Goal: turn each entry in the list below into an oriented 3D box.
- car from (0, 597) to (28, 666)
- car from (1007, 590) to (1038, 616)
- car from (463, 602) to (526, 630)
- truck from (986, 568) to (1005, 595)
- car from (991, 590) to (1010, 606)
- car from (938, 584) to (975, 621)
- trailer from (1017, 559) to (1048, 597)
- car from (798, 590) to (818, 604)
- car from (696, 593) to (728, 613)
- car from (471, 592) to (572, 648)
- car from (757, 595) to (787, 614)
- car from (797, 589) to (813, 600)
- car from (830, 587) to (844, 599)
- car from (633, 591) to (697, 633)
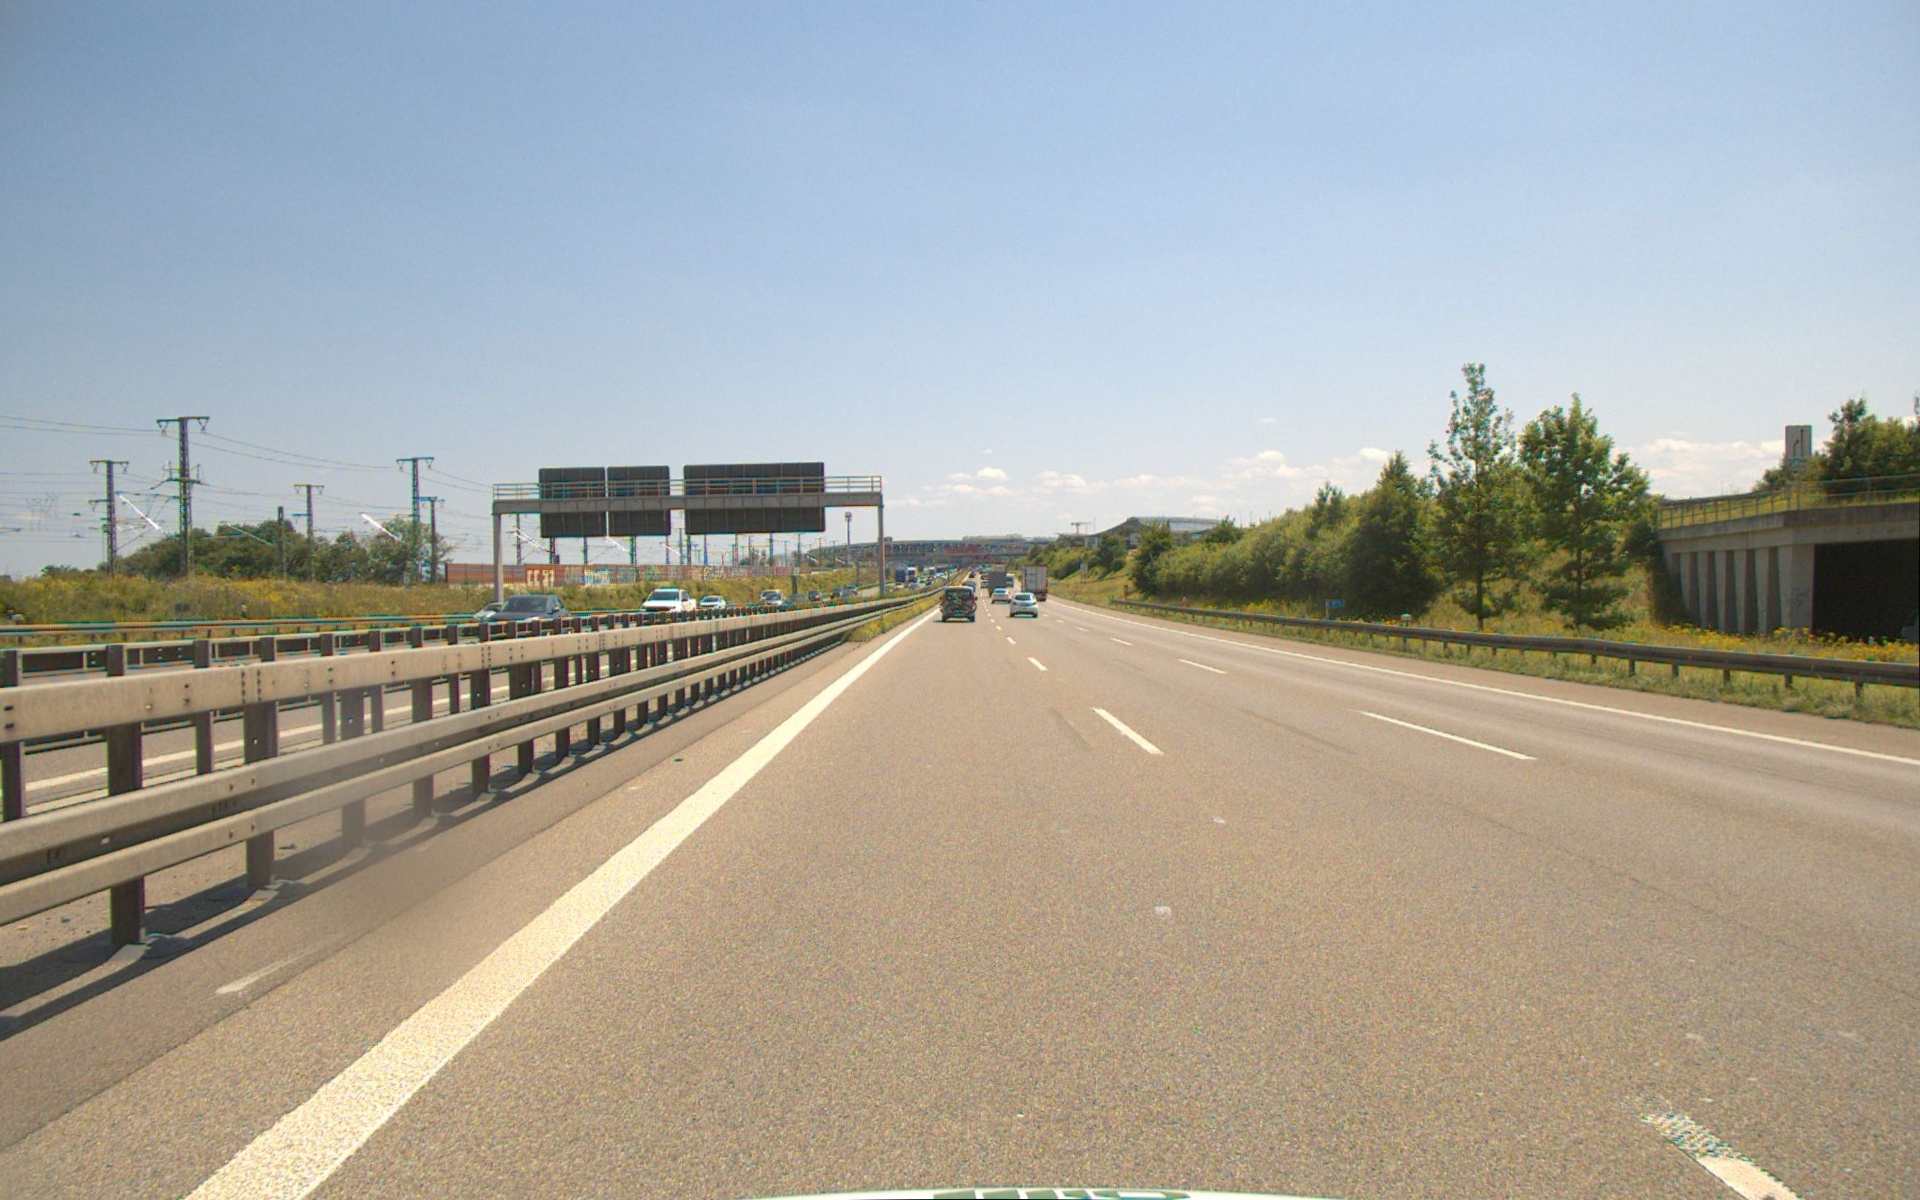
[{"bbox_3d":[-23.601,0.749,37.629,1.952,1.625,4.934,0,0,1],"label":"car"},{"bbox_3d":[3.877,0.181,101.847,1.841,1.553,4.002,0,0,3],"label":"car"},{"bbox_3d":[-22.929,0.768,81.650,1.953,1.334,4.163,0,0,-1],"label":"car"},{"bbox_3d":[4.577,-2.399,212.695,2.307,3.475,6.058,0,1,1],"label":"truck"},{"bbox_3d":[4.061,-0.220,166.629,1.842,1.553,4.001,0,0,1],"label":"car"},{"bbox_3d":[-0.174,0.118,86.282,1.842,1.806,4.000,-1,0,1],"label":"car"},{"bbox_3d":[8.151,-2.526,187.116,3.112,4.130,9.441,-1,1,1],"label":"trailer"},{"bbox_3d":[-19.144,-0.403,208.443,1.952,1.756,4.514,0,1,1],"label":"car"},{"bbox_3d":[-20.718,0.260,138.198,1.952,1.603,4.477,0,0,1],"label":"car"},{"bbox_3d":[-13.254,0.581,50.218,1.953,1.601,4.549,0,0,-1],"label":"car"},{"bbox_3d":[-16.309,0.365,143.632,1.952,1.603,4.477,0,0,1],"label":"car"},{"bbox_3d":[-22.309,-0.785,238.498,1.953,1.496,3.999,0,0,-1],"label":"car"},{"bbox_3d":[-18.014,-1.020,243.055,1.915,1.623,3.998,0,0,-3],"label":"car"},{"bbox_3d":[-13.364,0.518,75.231,1.953,1.863,5.598,0,0,-1],"label":"car"}]
